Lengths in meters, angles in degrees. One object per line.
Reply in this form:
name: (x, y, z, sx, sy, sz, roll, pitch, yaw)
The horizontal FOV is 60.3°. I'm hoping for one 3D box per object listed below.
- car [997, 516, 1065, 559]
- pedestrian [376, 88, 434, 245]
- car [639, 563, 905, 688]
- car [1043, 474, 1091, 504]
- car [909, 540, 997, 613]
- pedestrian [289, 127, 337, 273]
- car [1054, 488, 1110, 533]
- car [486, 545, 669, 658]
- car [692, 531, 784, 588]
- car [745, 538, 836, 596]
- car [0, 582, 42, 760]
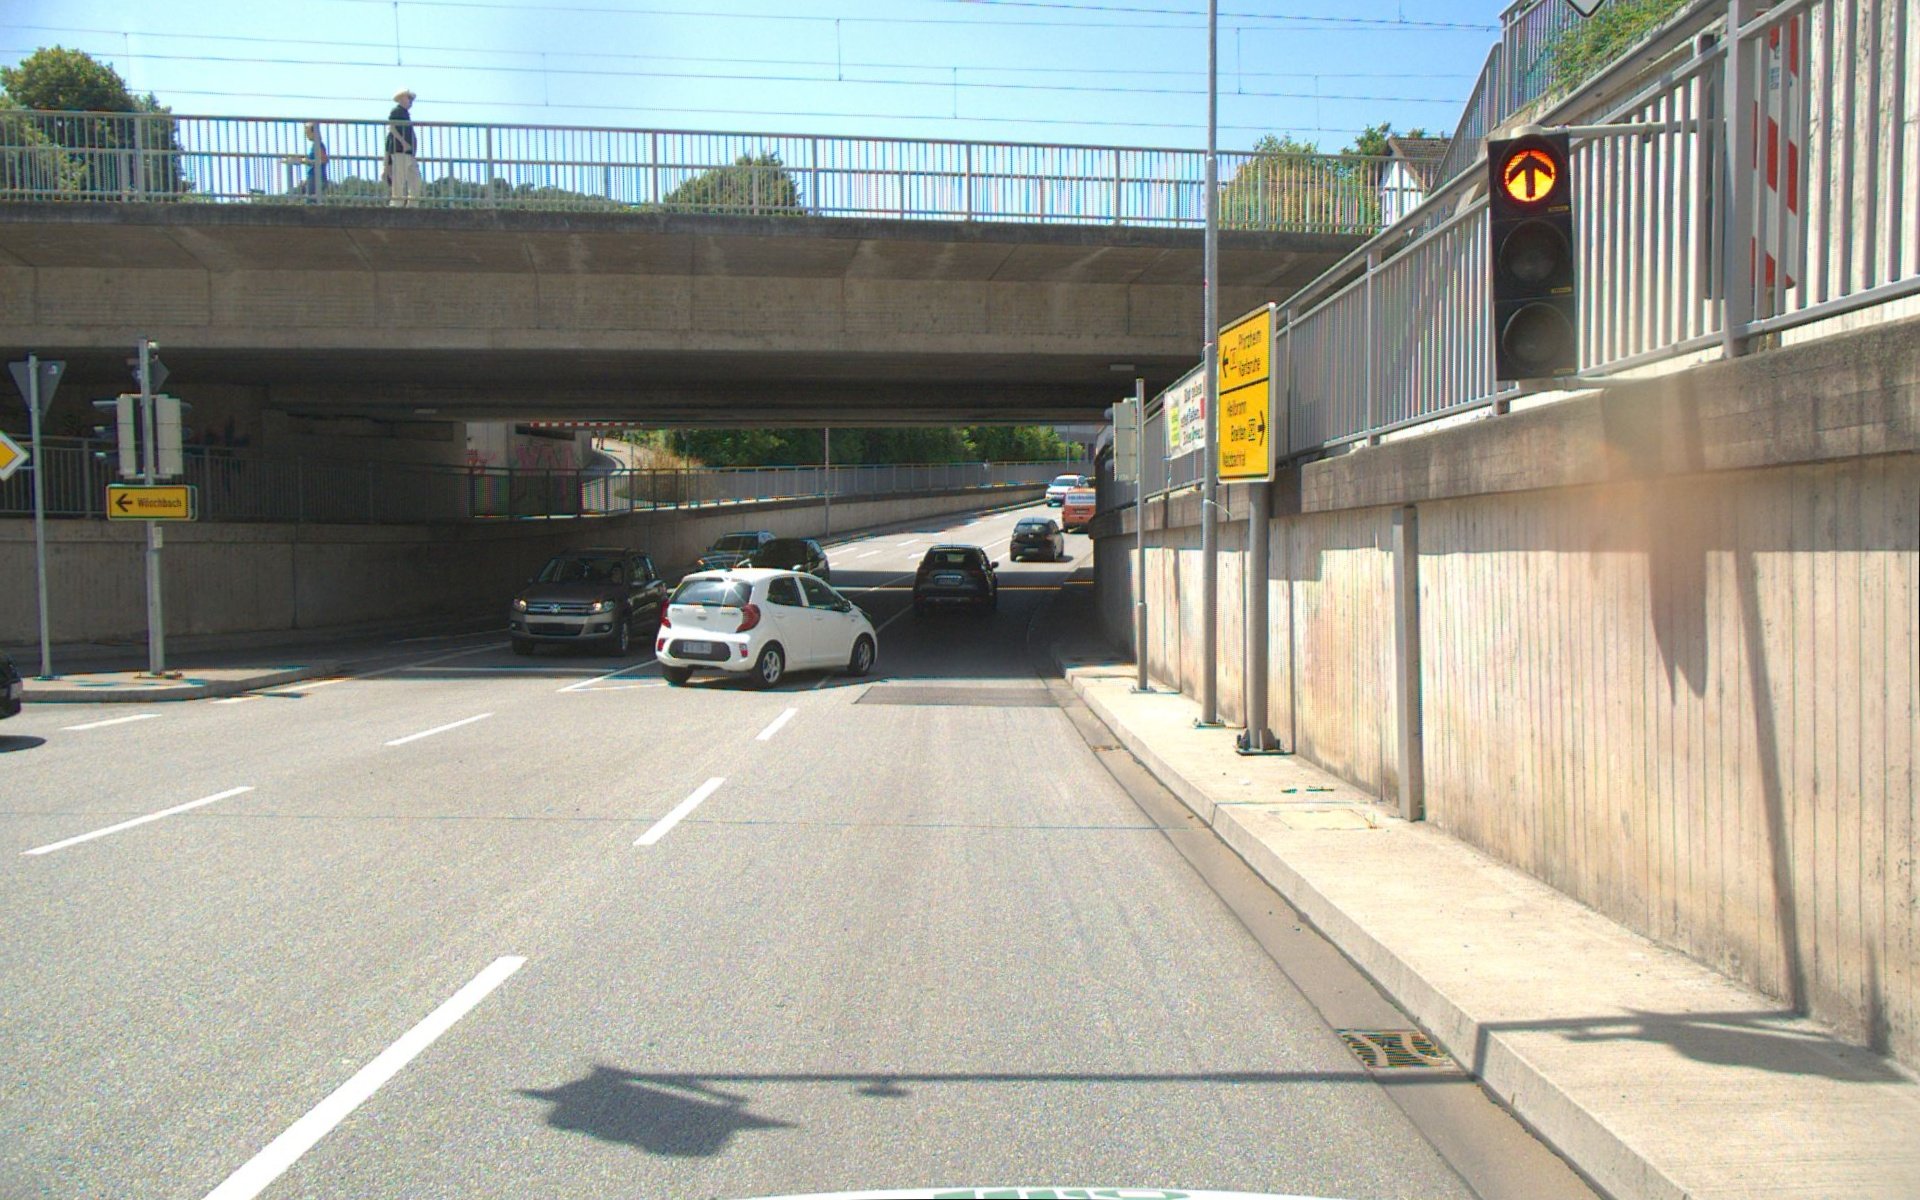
car: (2.649, -2.295, 60.917, 1.951, 1.534, 4.004, 1, 2, 11)
pedestrian: (-8.087, -6.300, 24.110, 0.563, 2.117, 0.535, -1, 0, 11)
car: (-2.472, 0.266, 22.684, 1.692, 1.444, 3.996, 2, 3, 28)
car: (6.217, -6.443, 95.714, 1.951, 1.615, 4.005, 2, 5, 16)
car: (-0.117, -0.604, 39.343, 1.952, 1.616, 4.002, 0, 3, 2)
pedestrian: (-9.976, -6.162, 25.508, 0.529, 2.117, 0.534, -1, 0, -8)
car: (5.612, -4.077, 75.461, 1.833, 1.965, 4.724, 1, 3, 13)
car: (-6.153, -0.044, 27.090, 1.952, 1.655, 4.002, 0, 3, 2)
car: (-6.651, -1.248, 49.918, 1.951, 1.616, 4.004, 0, 3, 5)
car: (-4.564, -0.924, 45.032, 1.744, 1.461, 4.004, 0, 3, 5)
car: (-9.986, 0.597, 13.671, 3.929, 1.398, 1.757, -1, 3, -21)
